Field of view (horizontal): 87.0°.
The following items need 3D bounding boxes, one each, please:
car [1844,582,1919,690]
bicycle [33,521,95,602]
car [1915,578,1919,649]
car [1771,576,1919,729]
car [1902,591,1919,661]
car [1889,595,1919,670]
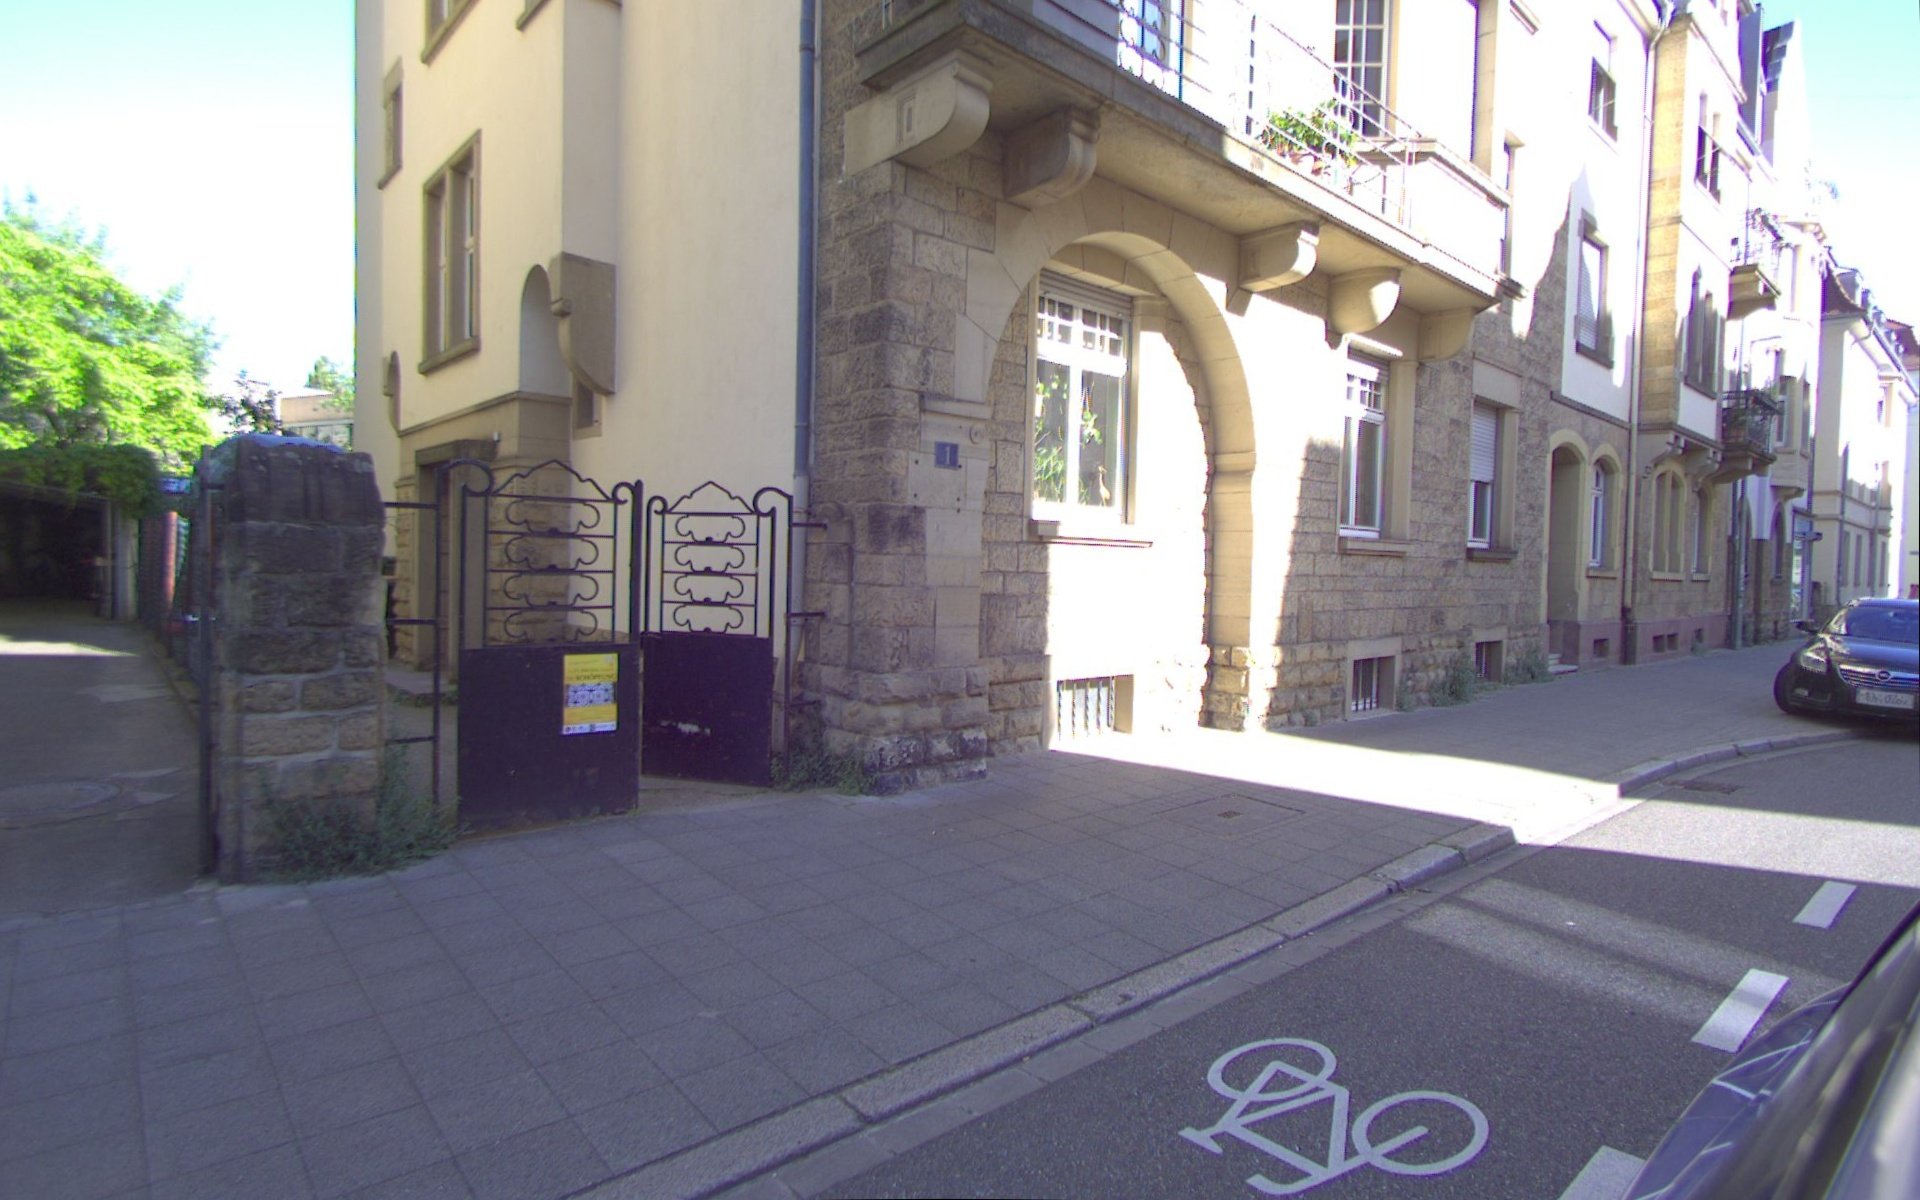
[{"bbox_3d":[15.529,0.560,15.862,4.247,1.527,2.004,0,3,-42],"label":"car"},{"bbox_3d":[-18.304,-0.814,20.720,0.903,1.530,2.672,0,4,-41],"label":"bicycle"},{"bbox_3d":[26.231,0.329,26.045,4.247,1.860,2.004,-1,4,-42],"label":"car"},{"bbox_3d":[11.508,0.552,12.185,4.043,1.526,2.023,-1,5,-42],"label":"car"},{"bbox_3d":[22.169,0.575,22.187,4.247,1.440,1.823,-1,4,-42],"label":"car"},{"bbox_3d":[18.792,0.613,18.966,3.667,1.295,1.659,-1,4,-42],"label":"car"}]
